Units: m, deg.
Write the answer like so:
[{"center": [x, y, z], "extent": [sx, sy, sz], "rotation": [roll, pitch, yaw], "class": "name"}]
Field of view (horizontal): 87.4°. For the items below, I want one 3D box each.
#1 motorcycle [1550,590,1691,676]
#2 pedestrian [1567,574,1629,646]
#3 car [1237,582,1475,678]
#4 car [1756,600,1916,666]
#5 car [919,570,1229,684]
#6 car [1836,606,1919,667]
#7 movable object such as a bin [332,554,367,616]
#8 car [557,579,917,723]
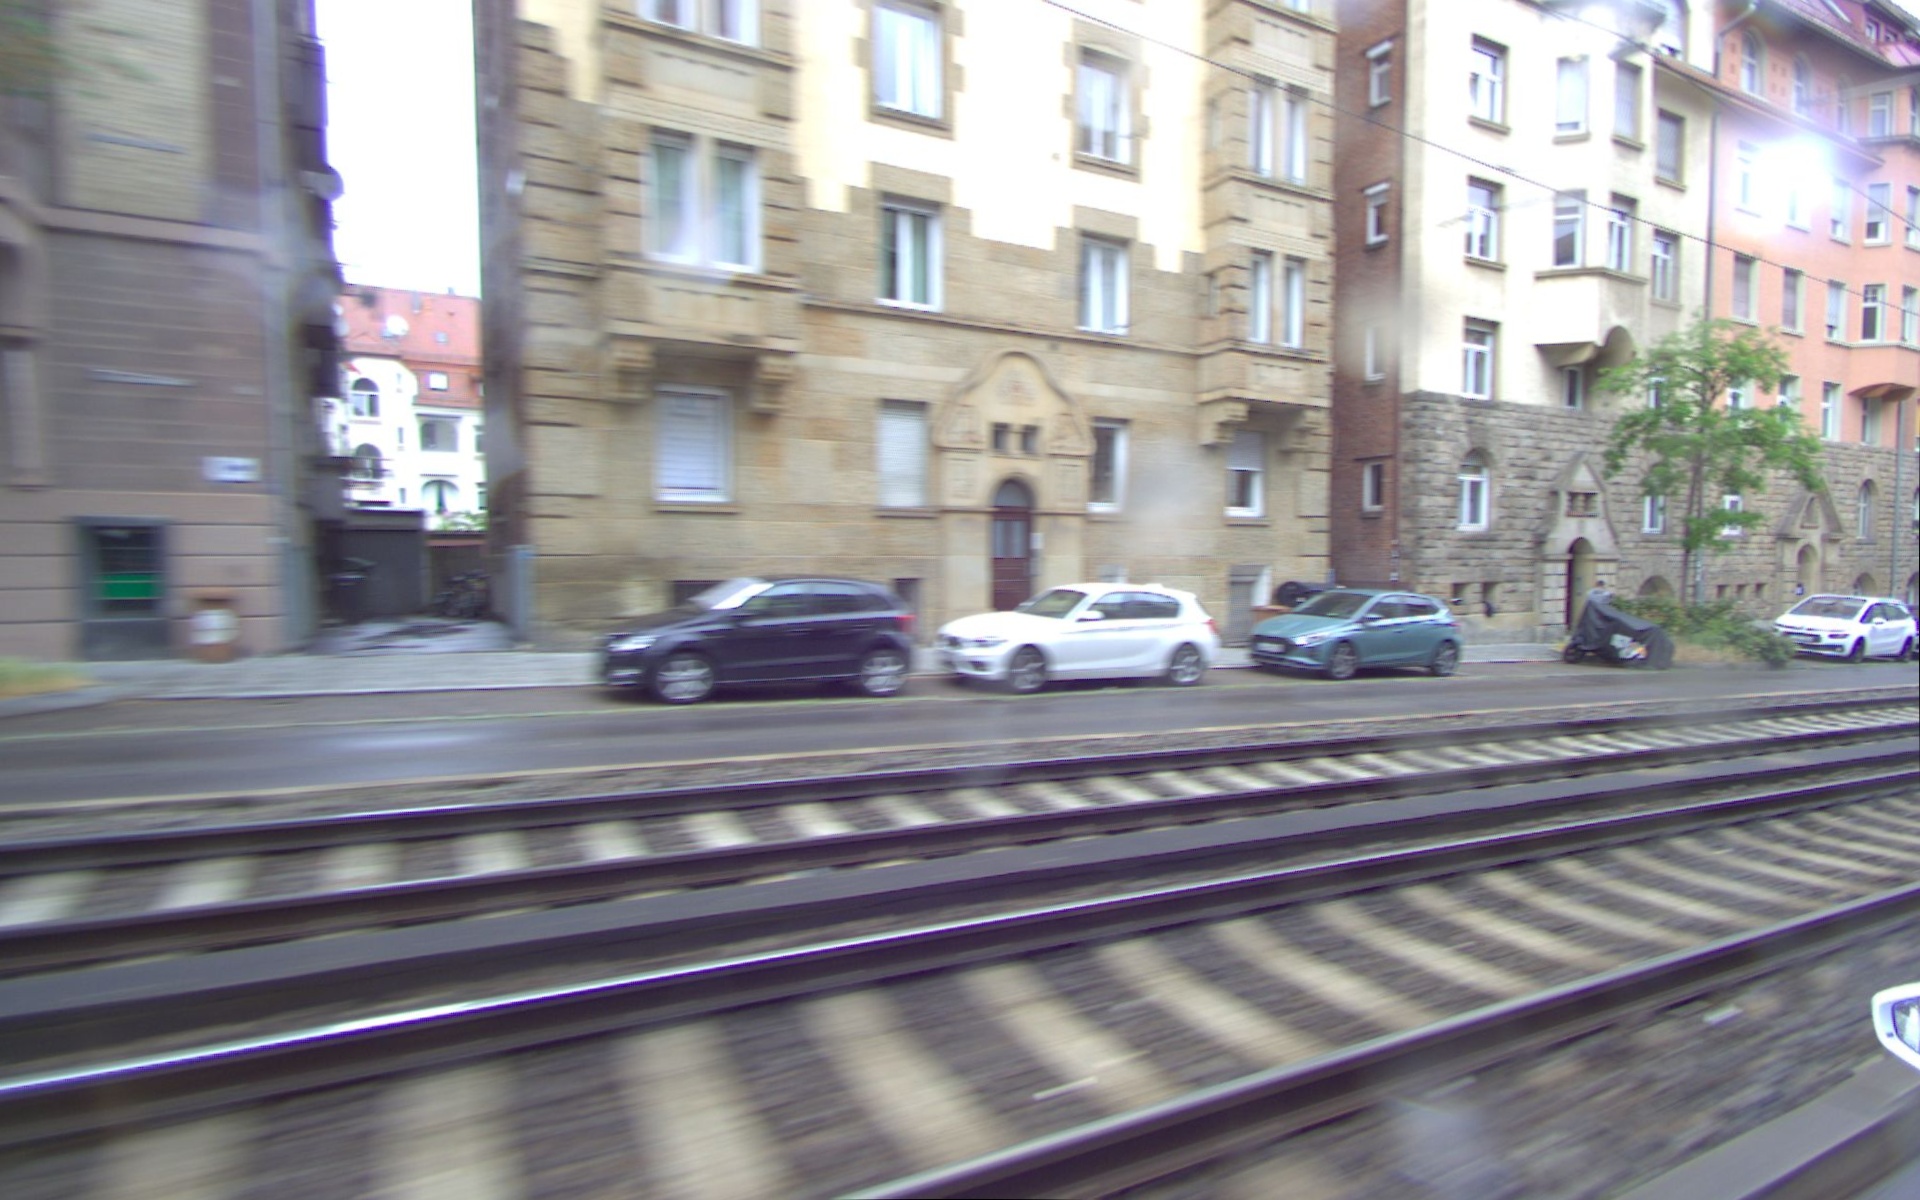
[{"center": [14.019, 0.662, 21.348], "extent": [1.284, 1.664, 2.236], "rotation": [1, 2, -45], "class": "motorcycle"}, {"center": [16.198, 0.251, 25.518], "extent": [0.913, 1.777, 1.003], "rotation": [0, 1, -28], "class": "pedestrian"}, {"center": [6.902, 0.498, 17.442], "extent": [4.095, 1.457, 1.554], "rotation": [1, 2, -29], "class": "car"}, {"center": [22.983, 0.857, 26.338], "extent": [4.297, 1.610, 1.777], "rotation": [1, 0, -28], "class": "car"}, {"center": [1.679, 0.364, 14.501], "extent": [4.208, 1.445, 1.661], "rotation": [1, 1, -27], "class": "car"}, {"center": [27.906, 1.029, 29.200], "extent": [4.911, 1.530, 1.985], "rotation": [1, 3, -28], "class": "car"}, {"center": [-13.414, -0.331, 22.081], "extent": [0.621, 1.313, 0.725], "rotation": [1, 2, -31], "class": "movable object such as a bin"}, {"center": [-2.694, 0.578, 12.268], "extent": [3.950, 1.506, 1.758], "rotation": [2, 1, -28], "class": "car"}]
